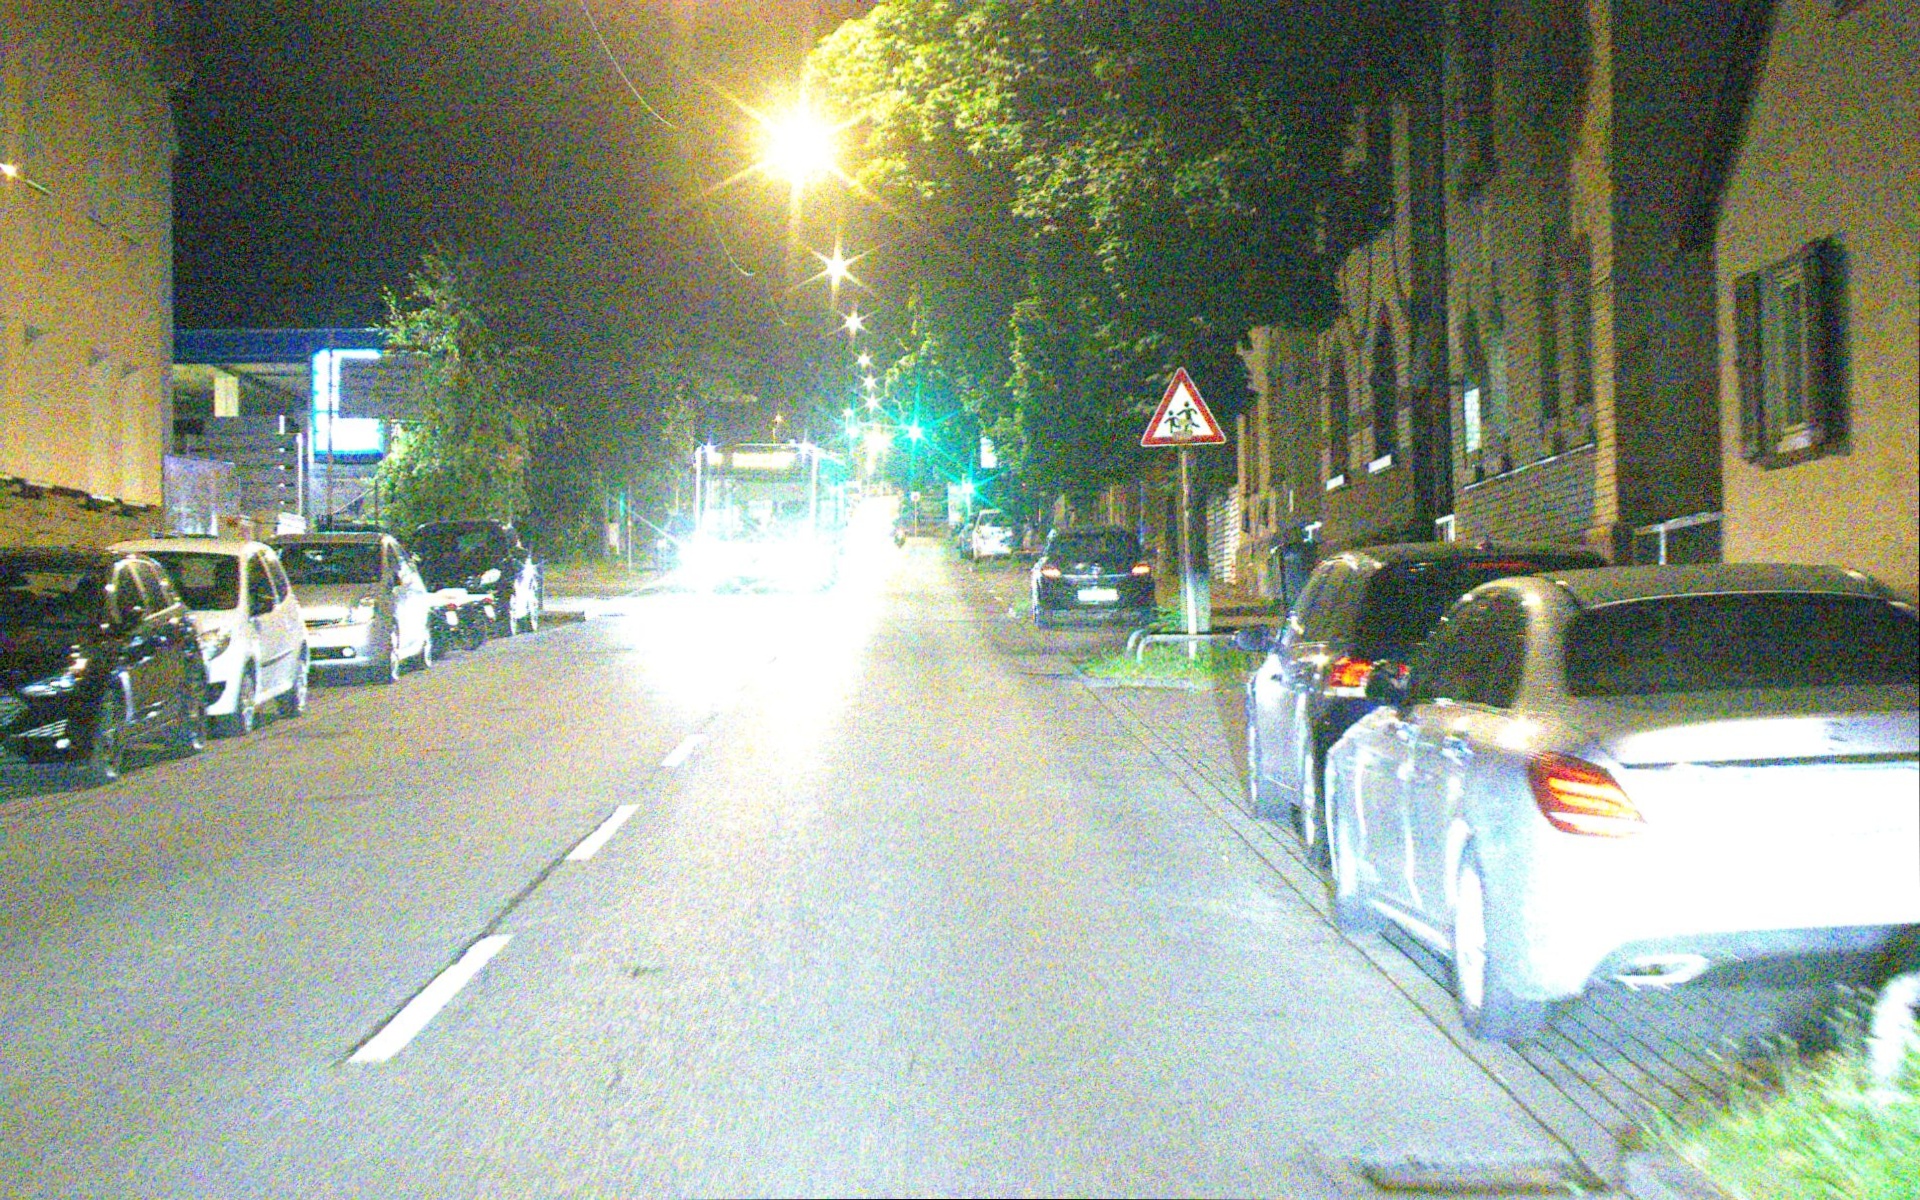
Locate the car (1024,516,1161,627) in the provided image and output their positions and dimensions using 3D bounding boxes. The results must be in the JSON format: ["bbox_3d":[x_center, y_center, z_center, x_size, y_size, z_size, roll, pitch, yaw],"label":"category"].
[{"bbox_3d":[1.894,-0.449,50.284,1.763,1.471,4.081,-2,2,-1],"label":"car"}]

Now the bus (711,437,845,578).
[{"bbox_3d":[-4.272,-2.211,82.122,2.837,3.166,7.661,1,2,0],"label":"bus"}]

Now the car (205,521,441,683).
[{"bbox_3d":[-6.407,-0.031,34.975,1.704,1.486,4.228,-2,2,-2],"label":"car"}]

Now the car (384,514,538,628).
[{"bbox_3d":[-6.720,-0.396,46.489,1.638,1.493,2.765,0,1,1],"label":"car"}]

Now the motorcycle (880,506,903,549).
[{"bbox_3d":[-2.842,-3.013,142.596,0.931,1.746,2.625,1,1,-1],"label":"motorcycle"}]

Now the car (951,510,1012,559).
[{"bbox_3d":[0.673,-2.160,112.436,1.868,1.521,4.150,-2,2,-1],"label":"car"}]

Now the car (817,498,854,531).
[{"bbox_3d":[-6.902,-4.721,190.360,1.944,1.711,4.000,1,1,-1],"label":"car"}]

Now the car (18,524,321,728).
[{"bbox_3d":[-6.180,0.171,27.239,1.621,1.486,3.781,1,1,-2],"label":"car"}]

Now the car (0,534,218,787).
[{"bbox_3d":[-6.186,0.328,22.447,1.863,1.486,4.281,1,1,-2],"label":"car"}]

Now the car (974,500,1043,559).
[{"bbox_3d":[1.374,-2.038,98.906,1.812,1.588,4.274,-2,2,-1],"label":"car"}]

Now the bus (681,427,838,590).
[{"bbox_3d":[-4.137,-1.951,73.027,2.837,3.166,10.499,1,2,-1],"label":"bus"}]

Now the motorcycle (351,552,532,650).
[{"bbox_3d":[-6.223,0.001,41.239,2.206,1.127,0.714,0,2,32],"label":"motorcycle"}]

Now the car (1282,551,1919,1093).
[{"bbox_3d":[2.345,0.586,11.852,1.845,1.412,4.646,-3,1,-1],"label":"car"}]

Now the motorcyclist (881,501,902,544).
[{"bbox_3d":[-2.842,-3.208,142.591,0.848,1.746,0.805,1,0,-1],"label":"motorcyclist"}]

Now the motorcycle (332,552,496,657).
[{"bbox_3d":[-6.243,0.034,39.220,0.714,1.143,2.208,-2,2,-43],"label":"motorcycle"}]

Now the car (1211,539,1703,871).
[{"bbox_3d":[2.350,0.429,17.235,1.771,1.443,4.020,-1,1,-1],"label":"car"}]
